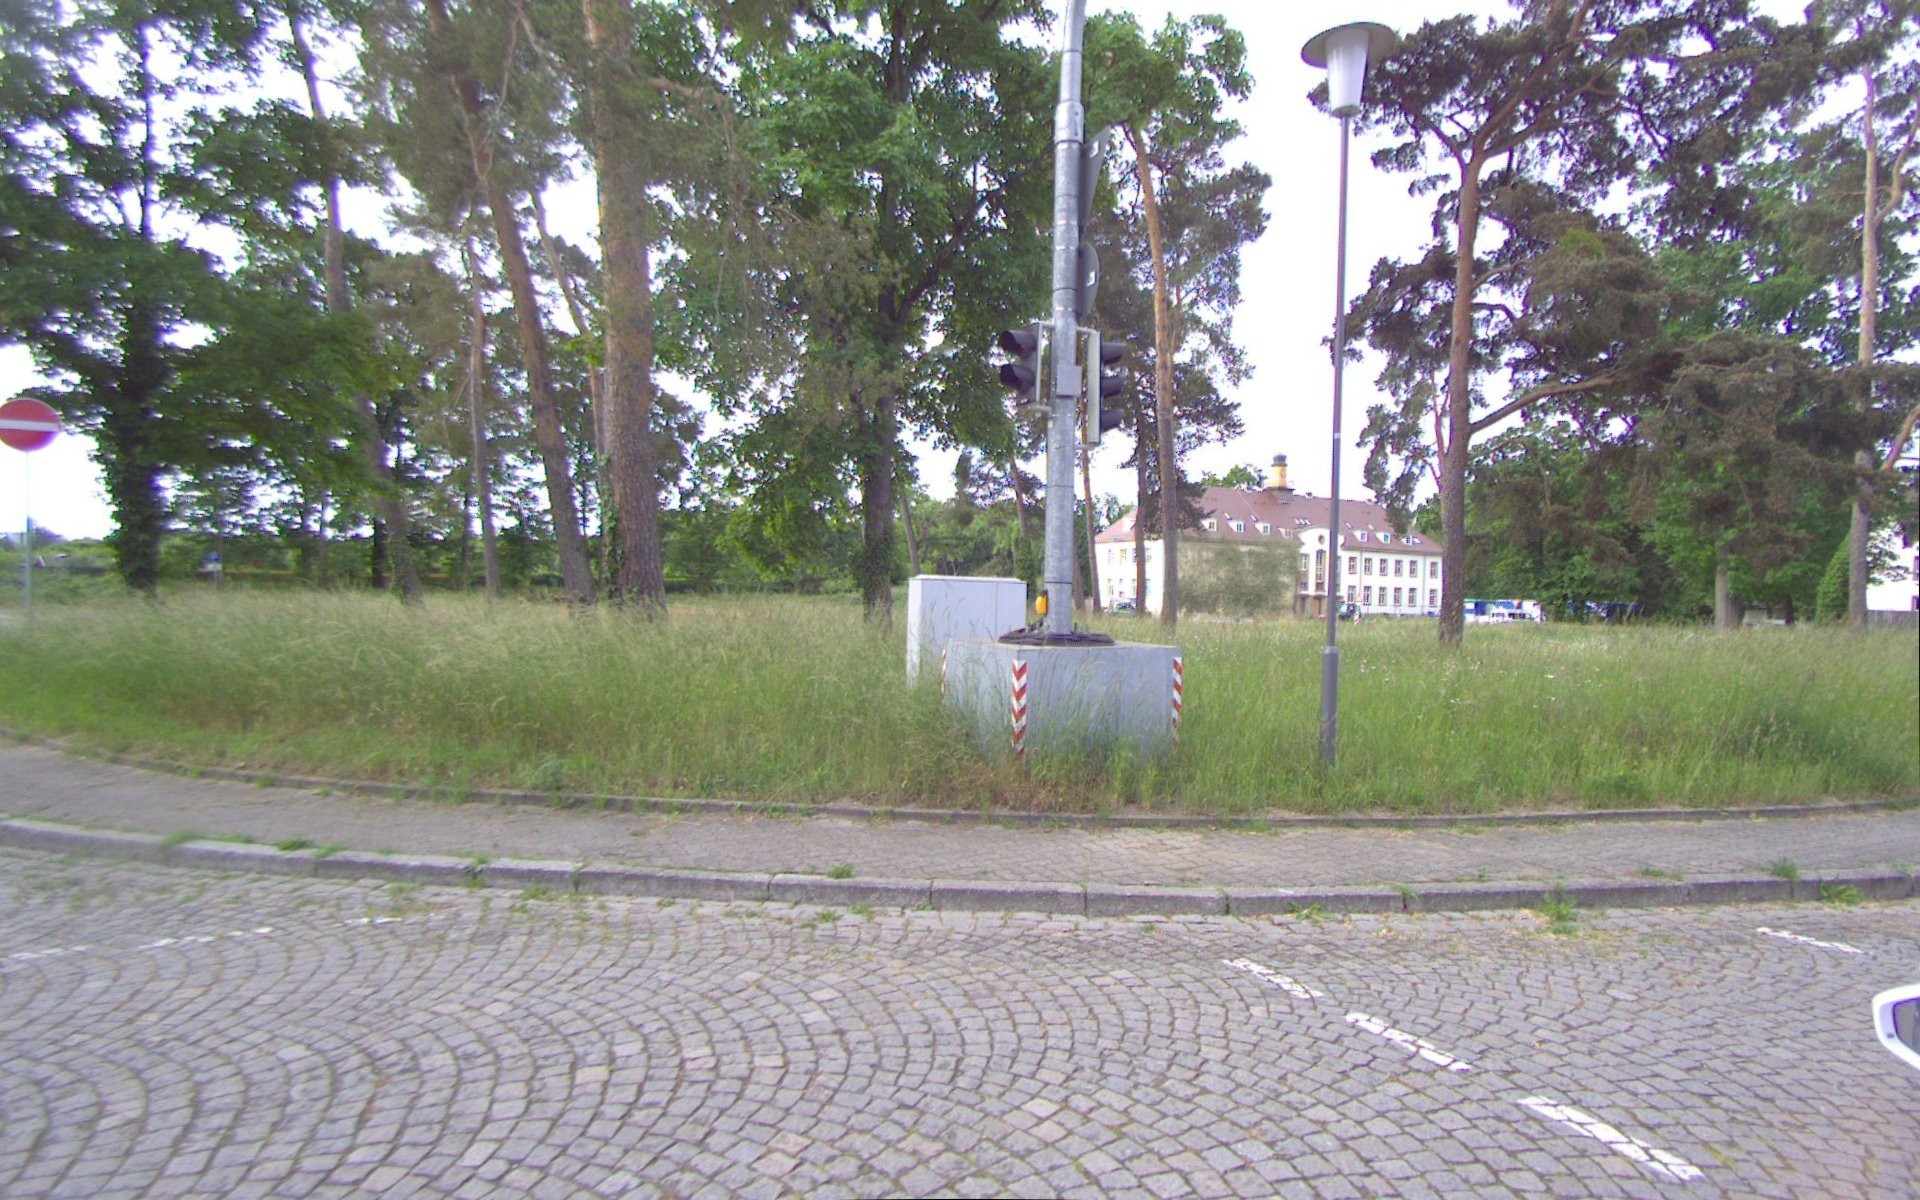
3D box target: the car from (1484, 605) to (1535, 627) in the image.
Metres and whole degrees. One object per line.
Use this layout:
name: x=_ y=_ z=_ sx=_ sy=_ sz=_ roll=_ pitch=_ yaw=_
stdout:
car: x=57.483 y=1.678 z=105.069 sx=5.158 sy=2.040 sz=1.988 roll=2 pitch=0 yaw=-24

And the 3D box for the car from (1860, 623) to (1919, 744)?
car: x=14.046 y=1.147 z=12.386 sx=1.881 sy=1.563 sz=3.972 roll=1 pitch=0 yaw=-27

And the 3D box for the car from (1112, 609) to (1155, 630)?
car: x=19.881 y=2.186 z=115.564 sx=1.979 sy=2.229 sz=4.991 roll=1 pitch=0 yaw=-33
